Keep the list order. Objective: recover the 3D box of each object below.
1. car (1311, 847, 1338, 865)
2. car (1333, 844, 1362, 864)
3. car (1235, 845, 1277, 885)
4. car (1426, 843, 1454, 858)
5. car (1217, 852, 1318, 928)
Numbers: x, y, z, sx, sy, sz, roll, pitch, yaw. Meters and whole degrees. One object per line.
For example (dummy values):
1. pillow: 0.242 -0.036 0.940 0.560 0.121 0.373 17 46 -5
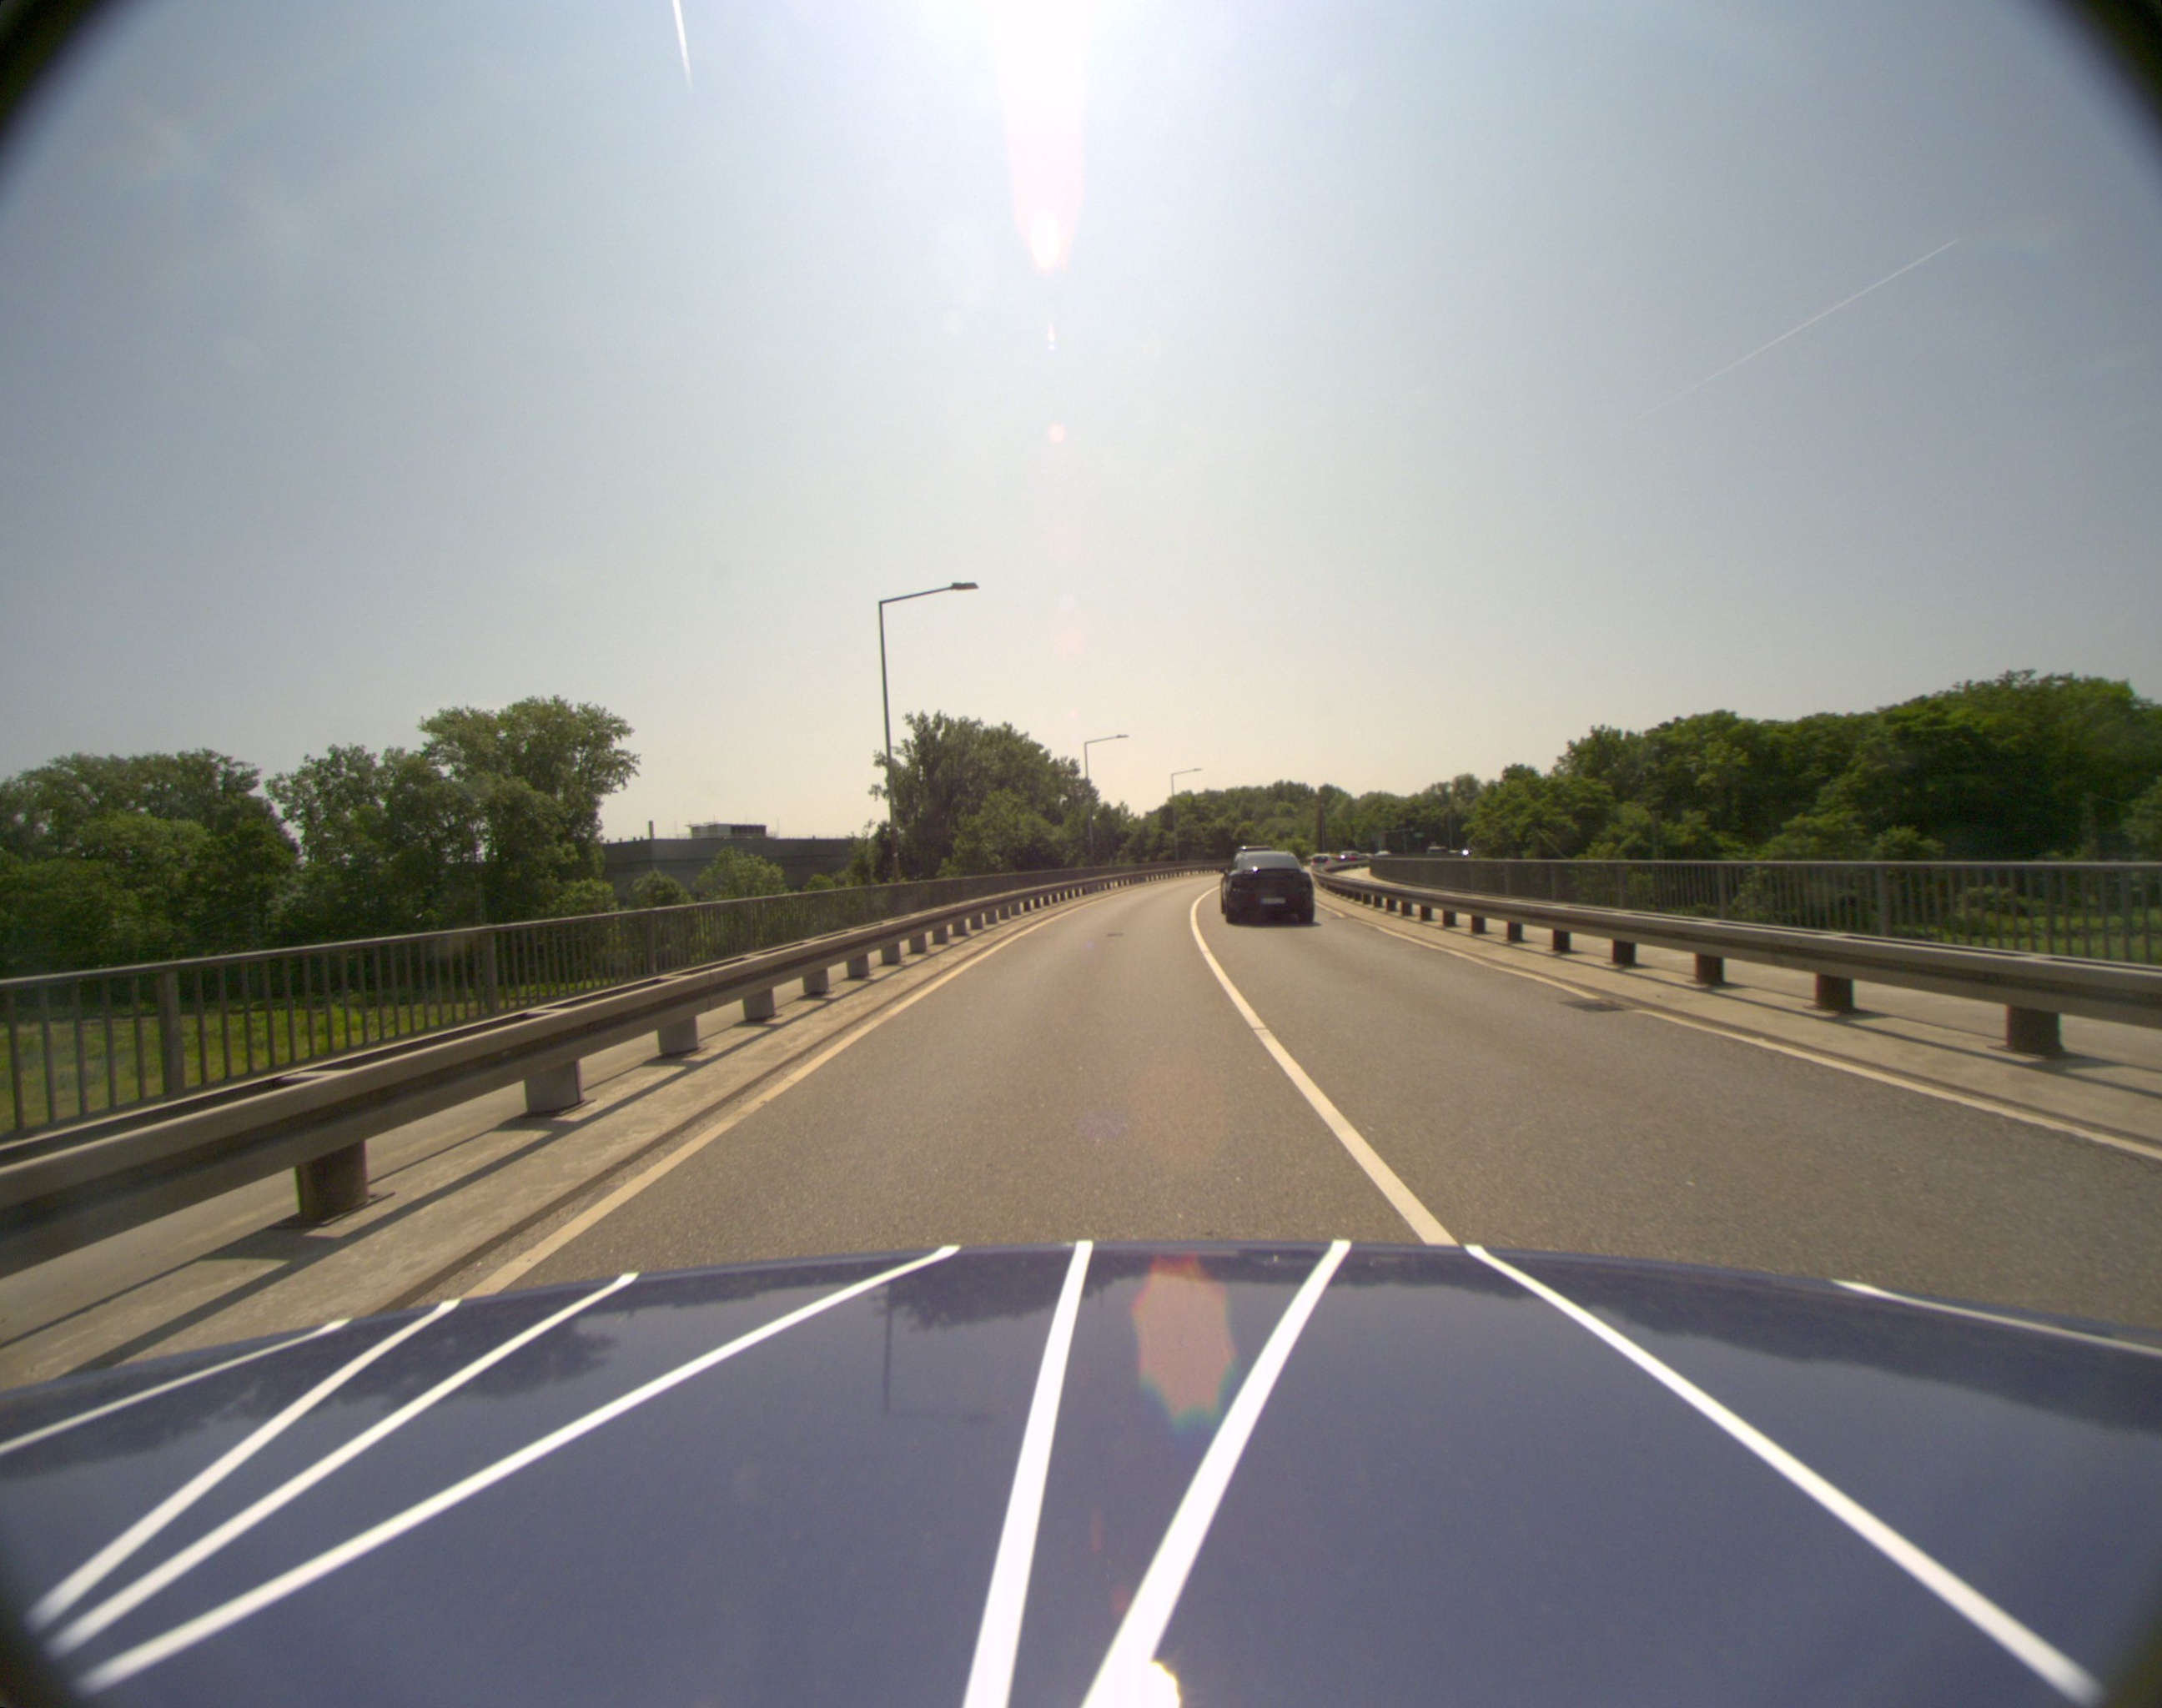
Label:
1. car: 20.510 0.161 64.044 1.666 1.455 3.492 -2 -1 25
2. car: 25.828 -0.012 73.547 1.908 1.756 4.008 -2 -1 29
3. car: 9.254 0.509 40.515 2.010 1.947 5.275 -1 1 12
4. car: 48.129 -0.468 101.816 4.824 1.988 1.862 -1 0 -45
5. car: 4.444 0.808 18.722 1.896 1.586 4.490 -2 -1 7
